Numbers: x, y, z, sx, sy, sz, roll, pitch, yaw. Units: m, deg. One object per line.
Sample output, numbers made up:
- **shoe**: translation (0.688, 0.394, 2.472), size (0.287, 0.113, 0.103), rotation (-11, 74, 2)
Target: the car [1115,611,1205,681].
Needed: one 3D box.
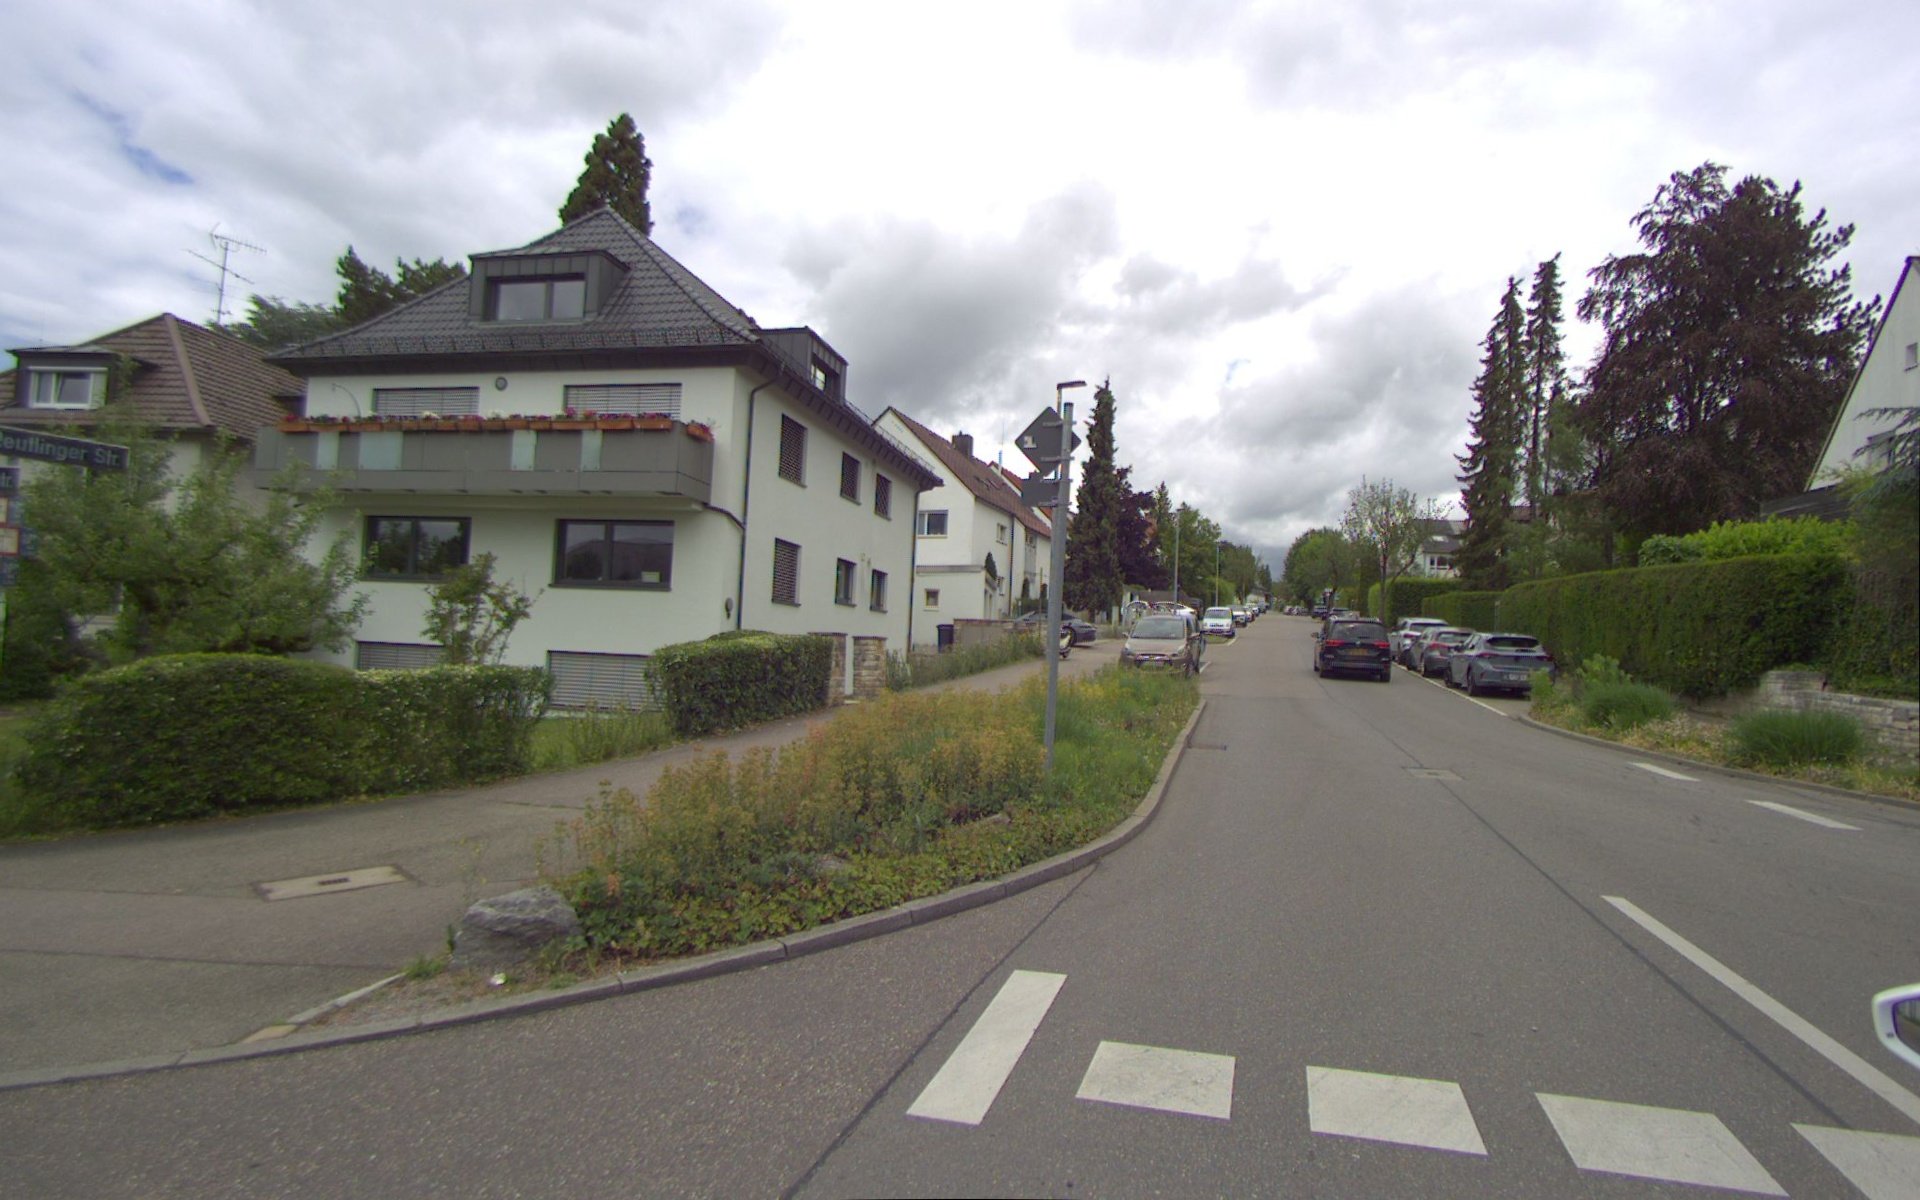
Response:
- **car**: translation (5.234, 1.121, 25.954), size (1.846, 1.606, 3.872), rotation (1, 0, 17)

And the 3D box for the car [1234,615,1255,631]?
- **car**: translation (26.391, 2.125, 93.085), size (1.806, 1.441, 4.409), rotation (0, 0, 16)

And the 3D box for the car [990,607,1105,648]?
- **car**: translation (3.406, 1.026, 38.796), size (4.213, 1.386, 1.905), rotation (2, 0, 12)

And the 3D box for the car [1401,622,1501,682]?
- **car**: translation (14.333, 1.466, 29.558), size (1.823, 1.483, 4.174), rotation (3, 0, 15)

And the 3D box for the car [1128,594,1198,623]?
- **car**: translation (13.768, 0.559, 68.077), size (4.337, 1.650, 1.911), rotation (5, 1, 17)

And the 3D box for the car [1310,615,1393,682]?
- **car**: translation (10.700, 1.256, 27.686), size (1.817, 1.633, 4.312), rotation (2, 0, 18)

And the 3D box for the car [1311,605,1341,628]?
- **car**: translation (29.223, 1.306, 80.356), size (1.960, 1.639, 4.514), rotation (4, 1, 18)

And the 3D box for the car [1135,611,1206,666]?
- **car**: translation (6.694, 1.157, 31.698), size (1.846, 1.557, 3.508), rotation (1, 0, 17)

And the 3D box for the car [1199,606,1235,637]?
- **car**: translation (13.978, 1.128, 54.533), size (1.731, 1.584, 3.856), rotation (1, 0, 17)

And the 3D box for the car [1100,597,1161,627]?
- **car**: translation (10.503, 0.747, 61.908), size (3.372, 1.599, 1.657), rotation (4, 0, 19)

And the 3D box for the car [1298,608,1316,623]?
- **car**: translation (41.922, 1.893, 121.406), size (1.960, 1.639, 4.514), rotation (4, 1, 18)

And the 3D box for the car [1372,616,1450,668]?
- **car**: translation (15.738, 1.428, 35.247), size (1.823, 1.603, 4.174), rotation (3, 0, 15)

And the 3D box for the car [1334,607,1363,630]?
- **car**: translation (27.319, 1.264, 70.761), size (1.633, 1.528, 3.759), rotation (2, 1, 17)

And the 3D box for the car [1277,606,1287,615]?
- **car**: translation (66.756, 2.235, 208.088), size (1.615, 1.690, 3.469), rotation (2, 1, 13)

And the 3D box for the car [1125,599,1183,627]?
- **car**: translation (12.455, 0.853, 64.503), size (3.372, 1.532, 1.693), rotation (4, 0, 19)

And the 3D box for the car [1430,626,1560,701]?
- **car**: translation (12.585, 1.427, 23.887), size (1.823, 1.483, 4.002), rotation (3, 0, 15)

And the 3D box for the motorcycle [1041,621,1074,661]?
- **motorcycle**: translation (2.997, 1.241, 30.723), size (0.422, 1.176, 1.861), rotation (0, -1, 25)

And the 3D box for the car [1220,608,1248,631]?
- **car**: translation (20.583, 1.433, 75.453), size (1.806, 1.688, 4.409), rotation (0, 0, 18)

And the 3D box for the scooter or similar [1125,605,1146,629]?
- **scooter or similar**: translation (8.970, 0.870, 51.239), size (0.467, 1.164, 1.450), rotation (4, 1, 33)
